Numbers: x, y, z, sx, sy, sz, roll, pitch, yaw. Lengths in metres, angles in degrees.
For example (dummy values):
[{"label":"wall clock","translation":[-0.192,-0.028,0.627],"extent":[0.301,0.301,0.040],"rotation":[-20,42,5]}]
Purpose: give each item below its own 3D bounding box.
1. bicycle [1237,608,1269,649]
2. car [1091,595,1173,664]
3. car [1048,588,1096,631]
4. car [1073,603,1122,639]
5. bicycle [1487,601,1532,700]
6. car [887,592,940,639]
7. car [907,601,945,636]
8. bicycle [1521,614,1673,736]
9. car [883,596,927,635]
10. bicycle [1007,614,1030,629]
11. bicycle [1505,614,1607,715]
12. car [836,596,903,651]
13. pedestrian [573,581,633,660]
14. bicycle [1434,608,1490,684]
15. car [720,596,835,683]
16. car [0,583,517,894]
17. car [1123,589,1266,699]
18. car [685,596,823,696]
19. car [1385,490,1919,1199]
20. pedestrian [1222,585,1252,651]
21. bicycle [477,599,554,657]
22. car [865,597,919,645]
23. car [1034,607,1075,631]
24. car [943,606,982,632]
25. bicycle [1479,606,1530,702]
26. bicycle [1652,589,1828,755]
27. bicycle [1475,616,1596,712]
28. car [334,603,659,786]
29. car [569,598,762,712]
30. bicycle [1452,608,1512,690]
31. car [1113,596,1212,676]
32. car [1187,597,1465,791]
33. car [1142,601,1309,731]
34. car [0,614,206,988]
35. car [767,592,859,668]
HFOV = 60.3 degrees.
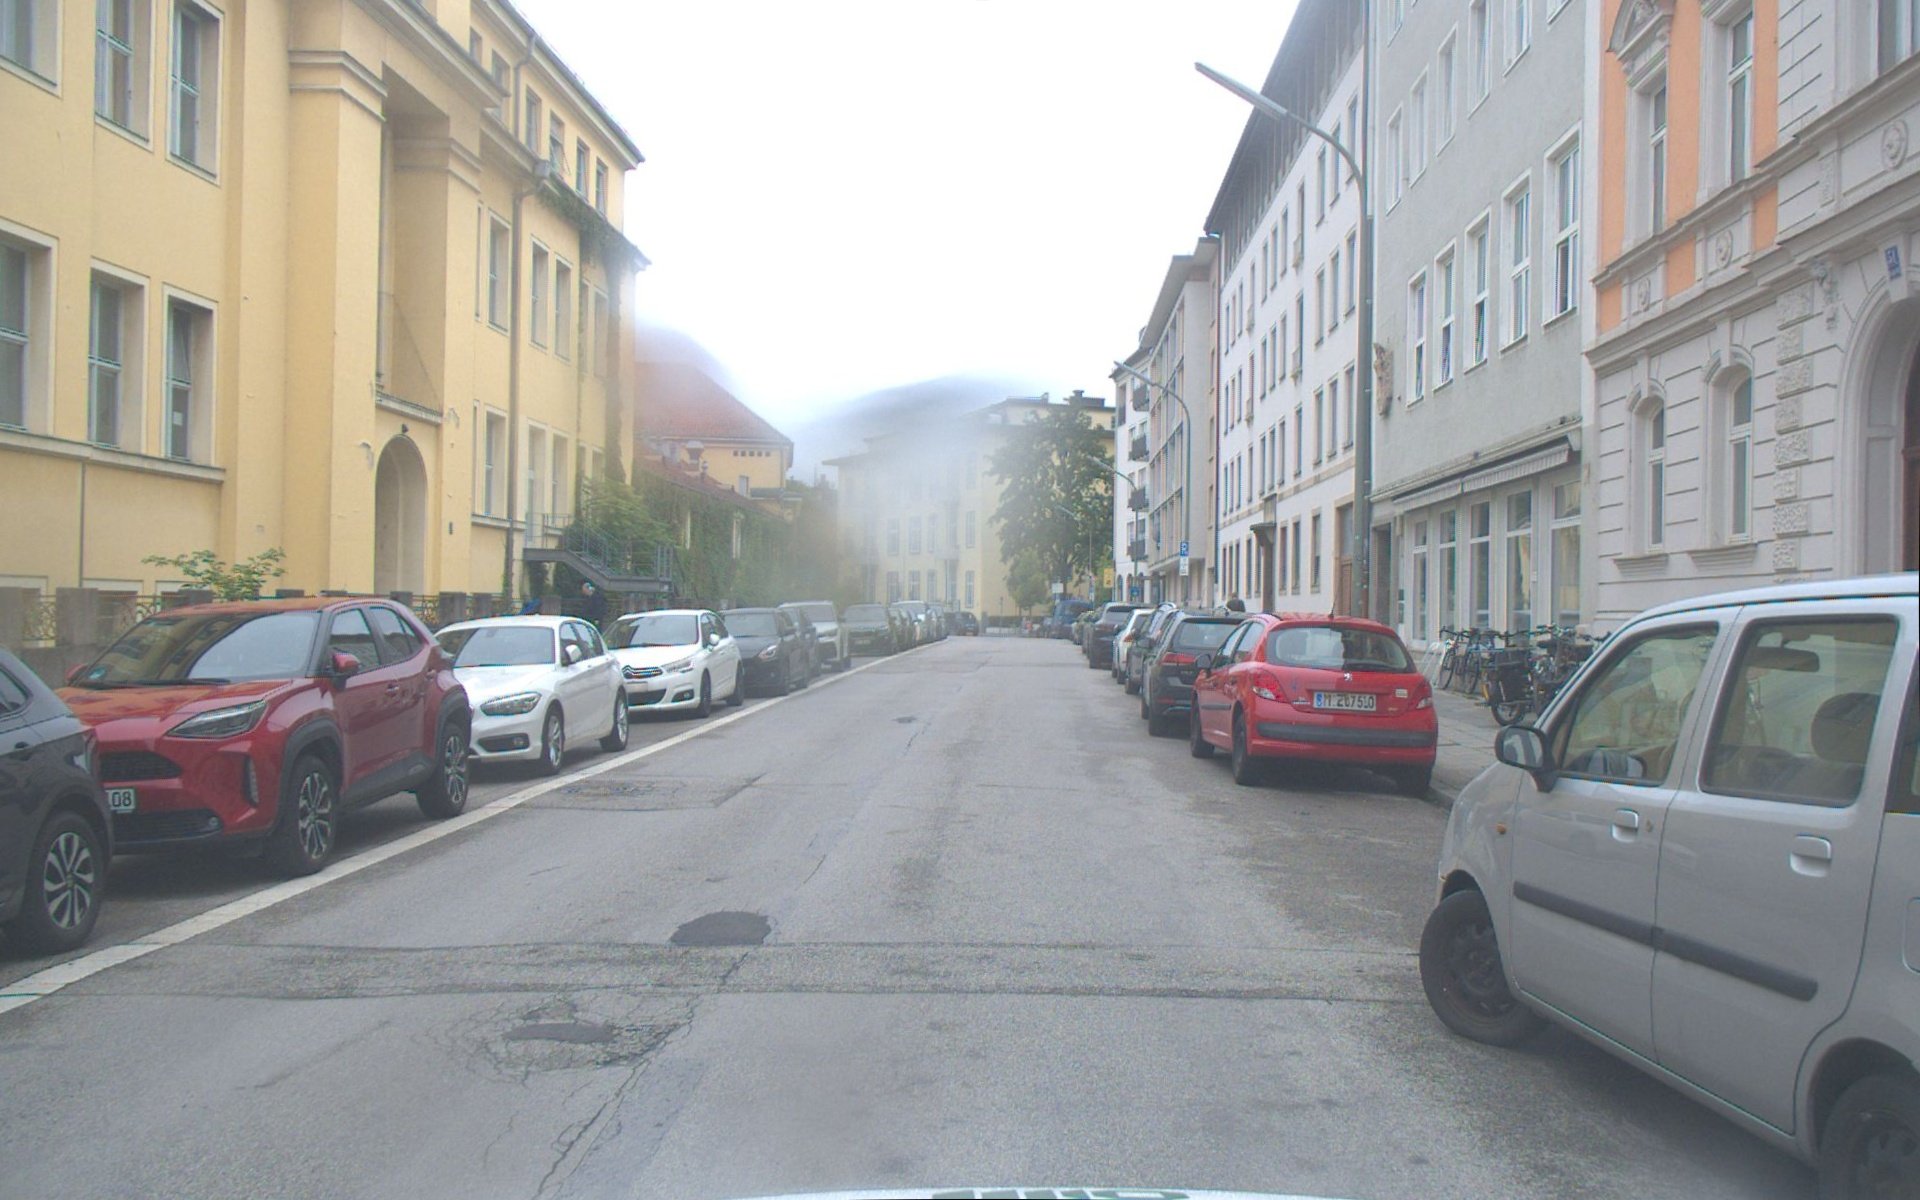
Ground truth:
[{"label":"bicycle","translation":[9.102,0.882,51.424],"extent":[0.502,1.243,1.987],"rotation":[0,0,-4]},{"label":"car","translation":[4.184,0.699,40.790],"extent":[1.801,1.549,4.711],"rotation":[2,0,4]},{"label":"car","translation":[6.680,0.614,99.071],"extent":[2.038,2.272,5.240],"rotation":[4,-3,-3]},{"label":"car","translation":[5.948,0.895,72.068],"extent":[1.709,1.412,4.954],"rotation":[2,0,1]},{"label":"bicycle","translation":[7.259,0.649,21.862],"extent":[0.242,1.277,0.916],"rotation":[0,0,-2]},{"label":"car","translation":[-2.035,0.678,73.426],"extent":[1.847,1.922,4.776],"rotation":[-3,-1,4]},{"label":"car","translation":[-1.687,0.929,83.725],"extent":[1.662,1.671,4.491],"rotation":[-2,-1,1]},{"label":"bicycle","translation":[6.573,0.737,17.018],"extent":[2.074,1.159,0.575],"rotation":[-1,0,-42]},{"label":"car","translation":[-2.224,0.633,67.972],"extent":[1.558,1.466,4.019],"rotation":[-2,-1,1]},{"label":"bicycle","translation":[4.838,1.789,136.675],"extent":[1.892,1.222,0.592],"rotation":[0,-1,40]},{"label":"bicycle","translation":[6.969,0.724,19.286],"extent":[0.610,1.108,1.807],"rotation":[-1,0,37]},{"label":"car","translation":[-2.840,0.729,52.792],"extent":[1.752,1.614,4.818],"rotation":[-2,0,1]},{"label":"pedestrian","translation":[-8.003,0.452,37.103],"extent":[0.882,1.749,1.059],"rotation":[-1,0,18]},{"label":"bicycle","translation":[8.178,0.729,26.992],"extent":[0.376,1.178,1.950],"rotation":[0,0,2]},{"label":"car","translation":[-3.697,0.781,34.212],"extent":[1.669,1.528,4.495],"rotation":[-5,-1,1]},{"label":"car","translation":[-4.439,0.726,10.604],"extent":[1.918,1.508,4.529],"rotation":[-2,-1,0]},{"label":"car","translation":[3.789,0.665,27.370],"extent":[1.671,1.620,4.361],"rotation":[2,0,0]},{"label":"car","translation":[-3.538,0.769,29.091],"extent":[1.664,1.523,4.150],"rotation":[-3,-1,2]},{"label":"car","translation":[2.739,0.645,4.921],"extent":[1.648,1.702,3.800],"rotation":[2,0,-5]},{"label":"pedestrian","translation":[7.688,0.519,45.945],"extent":[0.707,1.794,0.905],"rotation":[1,-3,3]},{"label":"bicycle","translation":[-10.146,0.633,37.768],"extent":[1.592,1.290,0.527],"rotation":[0,0,4]},{"label":"car","translation":[-2.474,0.755,61.010],"extent":[1.688,1.658,4.466],"rotation":[-2,-1,1]},{"label":"car","translation":[5.987,1.213,105.244],"extent":[1.646,1.413,4.296],"rotation":[4,-1,-9]},{"label":"car","translation":[0.163,1.530,135.913],"extent":[1.736,1.907,4.355],"rotation":[5,-1,-19]},{"label":"bicycle","translation":[7.486,0.731,22.763],"extent":[0.242,1.277,1.233],"rotation":[0,0,-2]},{"label":"bicycle","translation":[7.084,0.608,15.138],"extent":[0.583,1.409,2.092],"rotation":[-1,0,-1]},{"label":"bicycle","translation":[6.932,0.742,19.885],"extent":[1.830,1.086,0.508],"rotation":[0,0,-40]},{"label":"car","translation":[-4.340,0.813,16.296],"extent":[1.757,1.454,4.665],"rotation":[-3,0,1]},{"label":"car","translation":[-4.117,0.733,23.876],"extent":[1.747,1.457,4.653],"rotation":[1,0,3]},{"label":"bicycle","translation":[7.878,0.718,25.008],"extent":[0.387,1.197,1.816],"rotation":[1,0,2]},{"label":"car","translation":[4.047,0.695,33.563],"extent":[1.638,1.454,4.531],"rotation":[2,0,3]},{"label":"car","translation":[3.293,0.771,15.671],"extent":[1.653,1.526,4.147],"rotation":[2,0,0]},{"label":"car","translation":[3.213,0.752,20.719],"extent":[1.652,1.426,4.366],"rotation":[1,0,4]},{"label":"car","translation":[-4.562,0.811,5.944],"extent":[1.714,1.429,4.354],"rotation":[-2,0,-1]},{"label":"car","translation":[-3.422,0.678,39.174],"extent":[1.710,1.662,4.856],"rotation":[-1,0,0]}]
